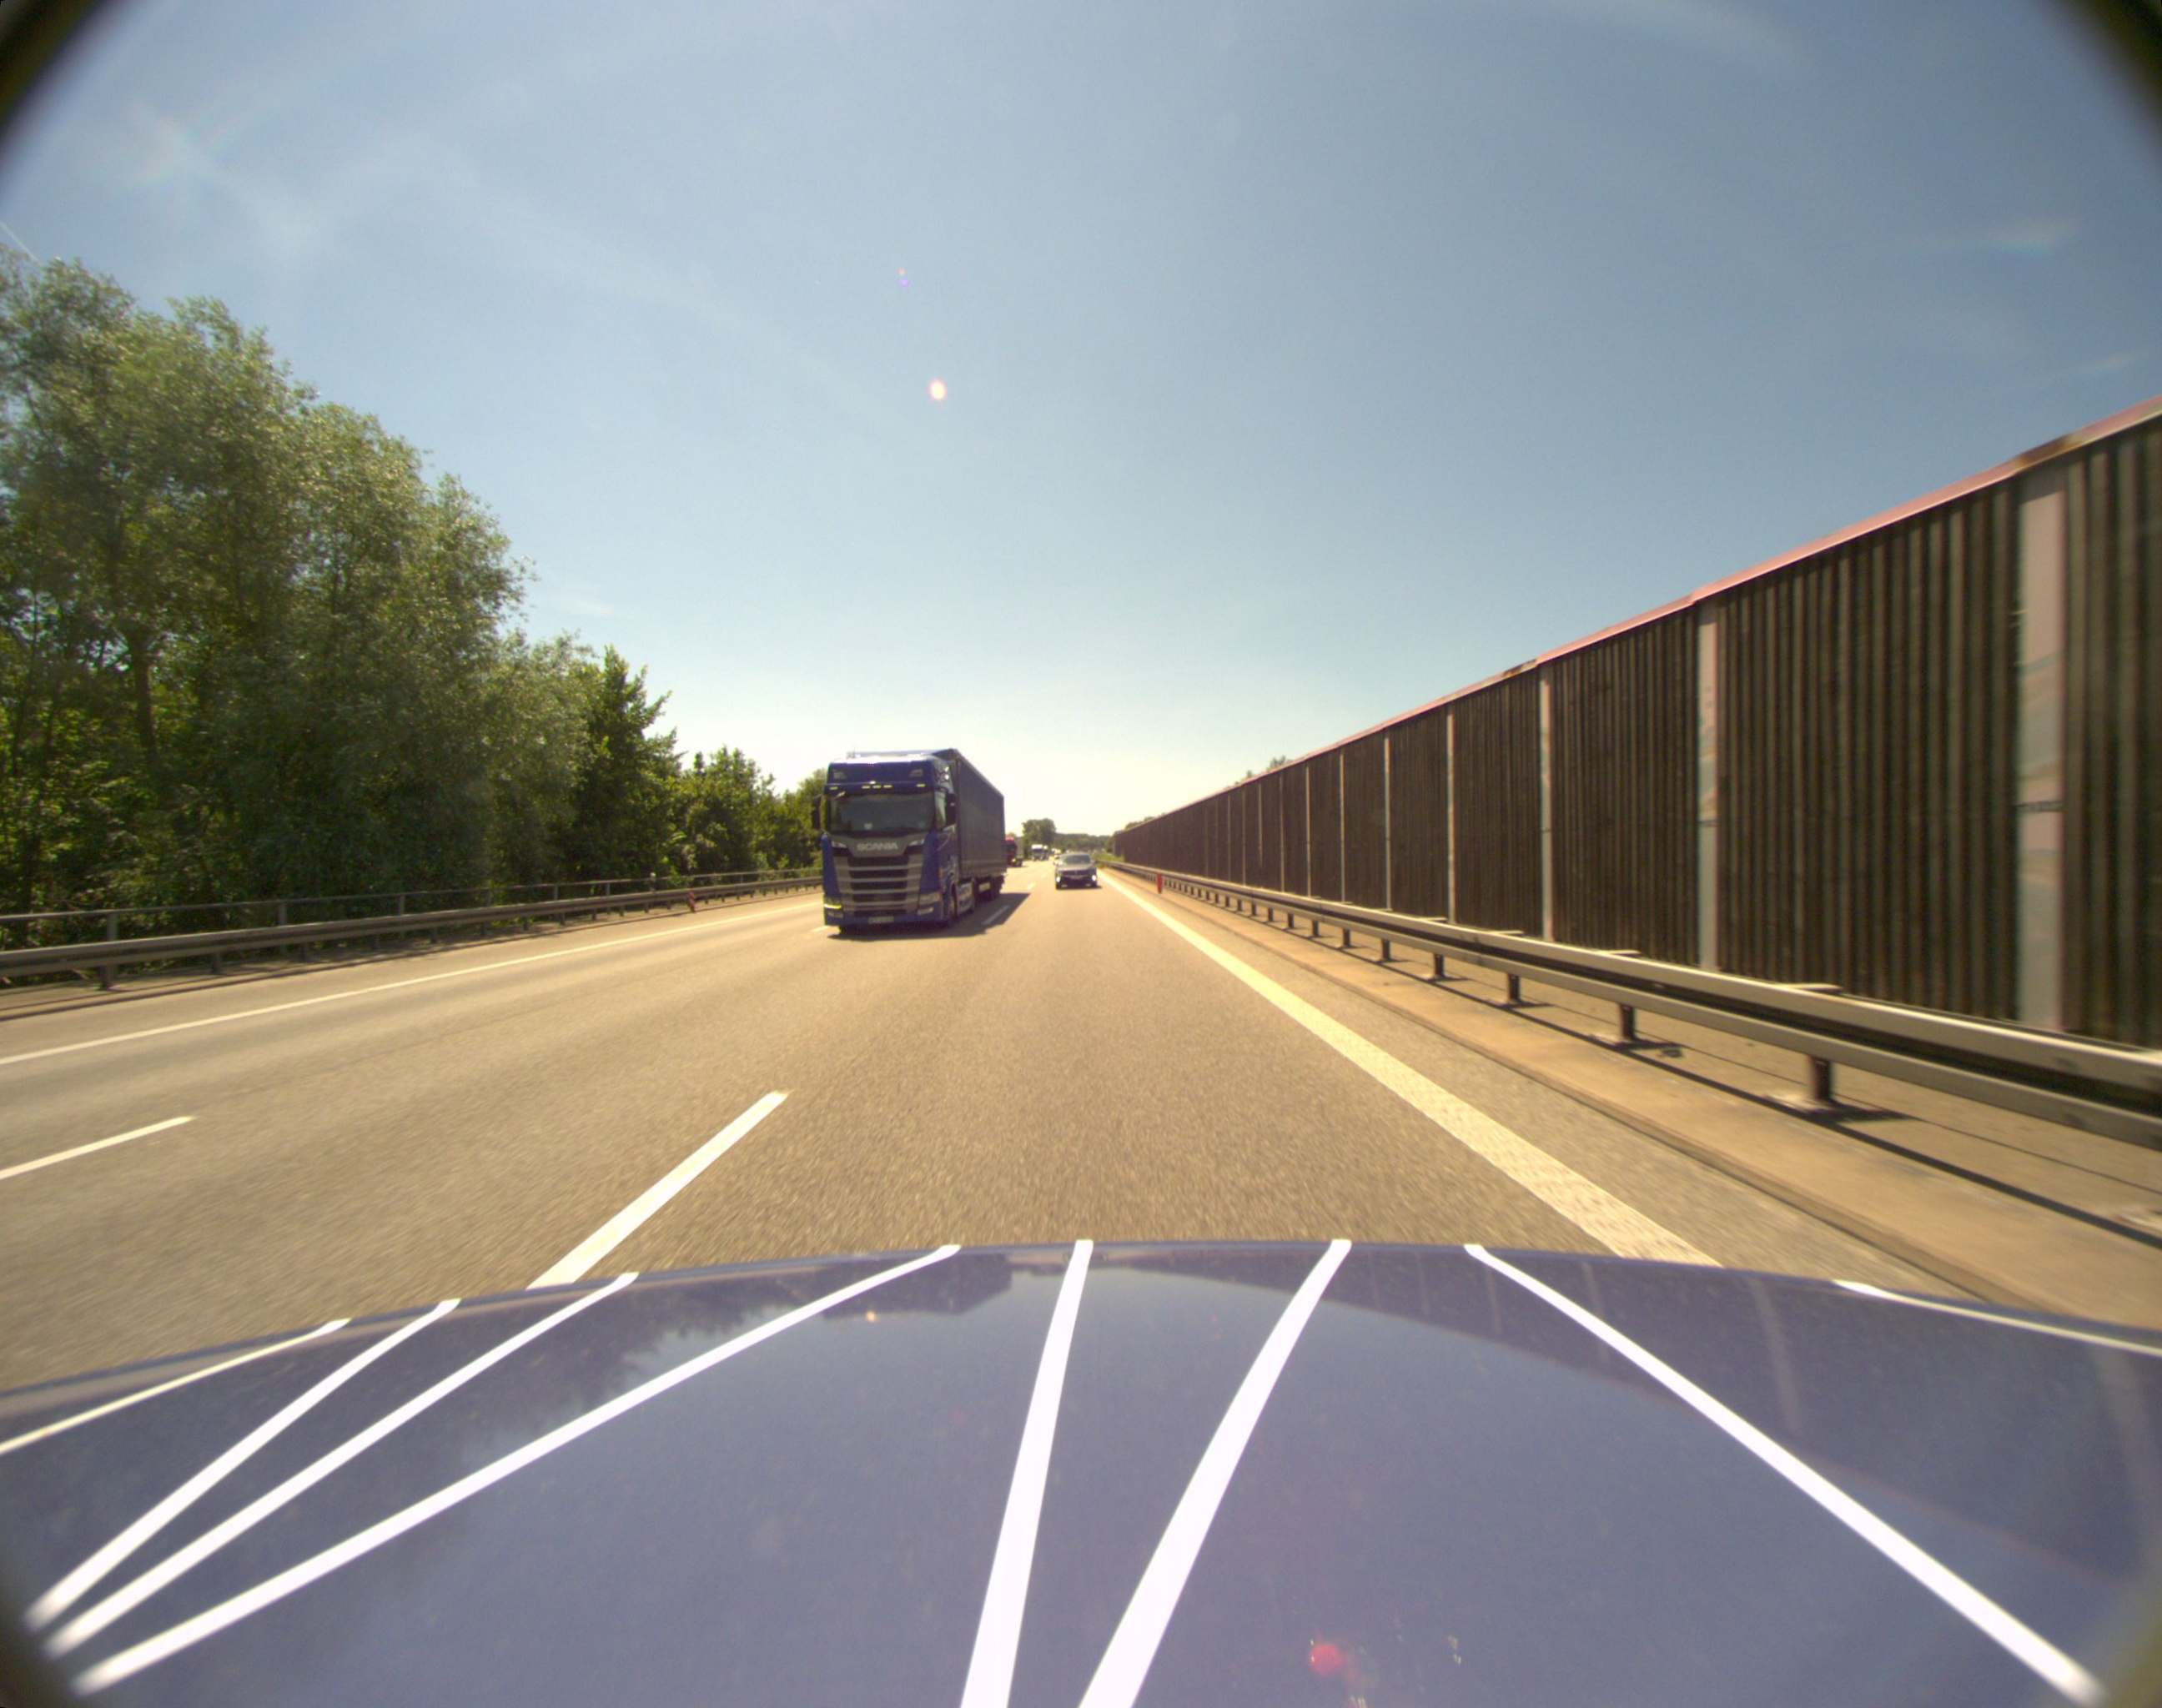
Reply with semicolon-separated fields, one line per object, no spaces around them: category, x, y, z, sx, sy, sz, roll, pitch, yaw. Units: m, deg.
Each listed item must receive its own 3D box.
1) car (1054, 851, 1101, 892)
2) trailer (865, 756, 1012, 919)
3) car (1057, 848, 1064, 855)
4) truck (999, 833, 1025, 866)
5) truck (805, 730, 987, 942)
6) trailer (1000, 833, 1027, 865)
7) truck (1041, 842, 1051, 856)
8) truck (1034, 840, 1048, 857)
car;-0.216;0.711;34.020;1.885;1.630;5.007;-2;0;-2
trailer;-4.195;-0.456;25.585;2.707;4.094;12.129;-2;0;-1
car;-5.912;-0.818;222.022;1.999;2.002;3.999;-2;0;-3
truck;-9.109;-0.605;100.786;2.803;4.094;7.768;-2;1;-1
truck;-4.075;-0.377;18.481;2.707;4.094;6.989;-2;1;-1
trailer;-9.267;-0.680;106.123;2.803;4.094;12.297;-2;0;-1
truck;-10.033;-1.560;219.556;2.743;3.844;12.463;-2;0;-2
truck;-10.070;-1.392;191.963;2.992;4.248;9.821;-2;0;-2
